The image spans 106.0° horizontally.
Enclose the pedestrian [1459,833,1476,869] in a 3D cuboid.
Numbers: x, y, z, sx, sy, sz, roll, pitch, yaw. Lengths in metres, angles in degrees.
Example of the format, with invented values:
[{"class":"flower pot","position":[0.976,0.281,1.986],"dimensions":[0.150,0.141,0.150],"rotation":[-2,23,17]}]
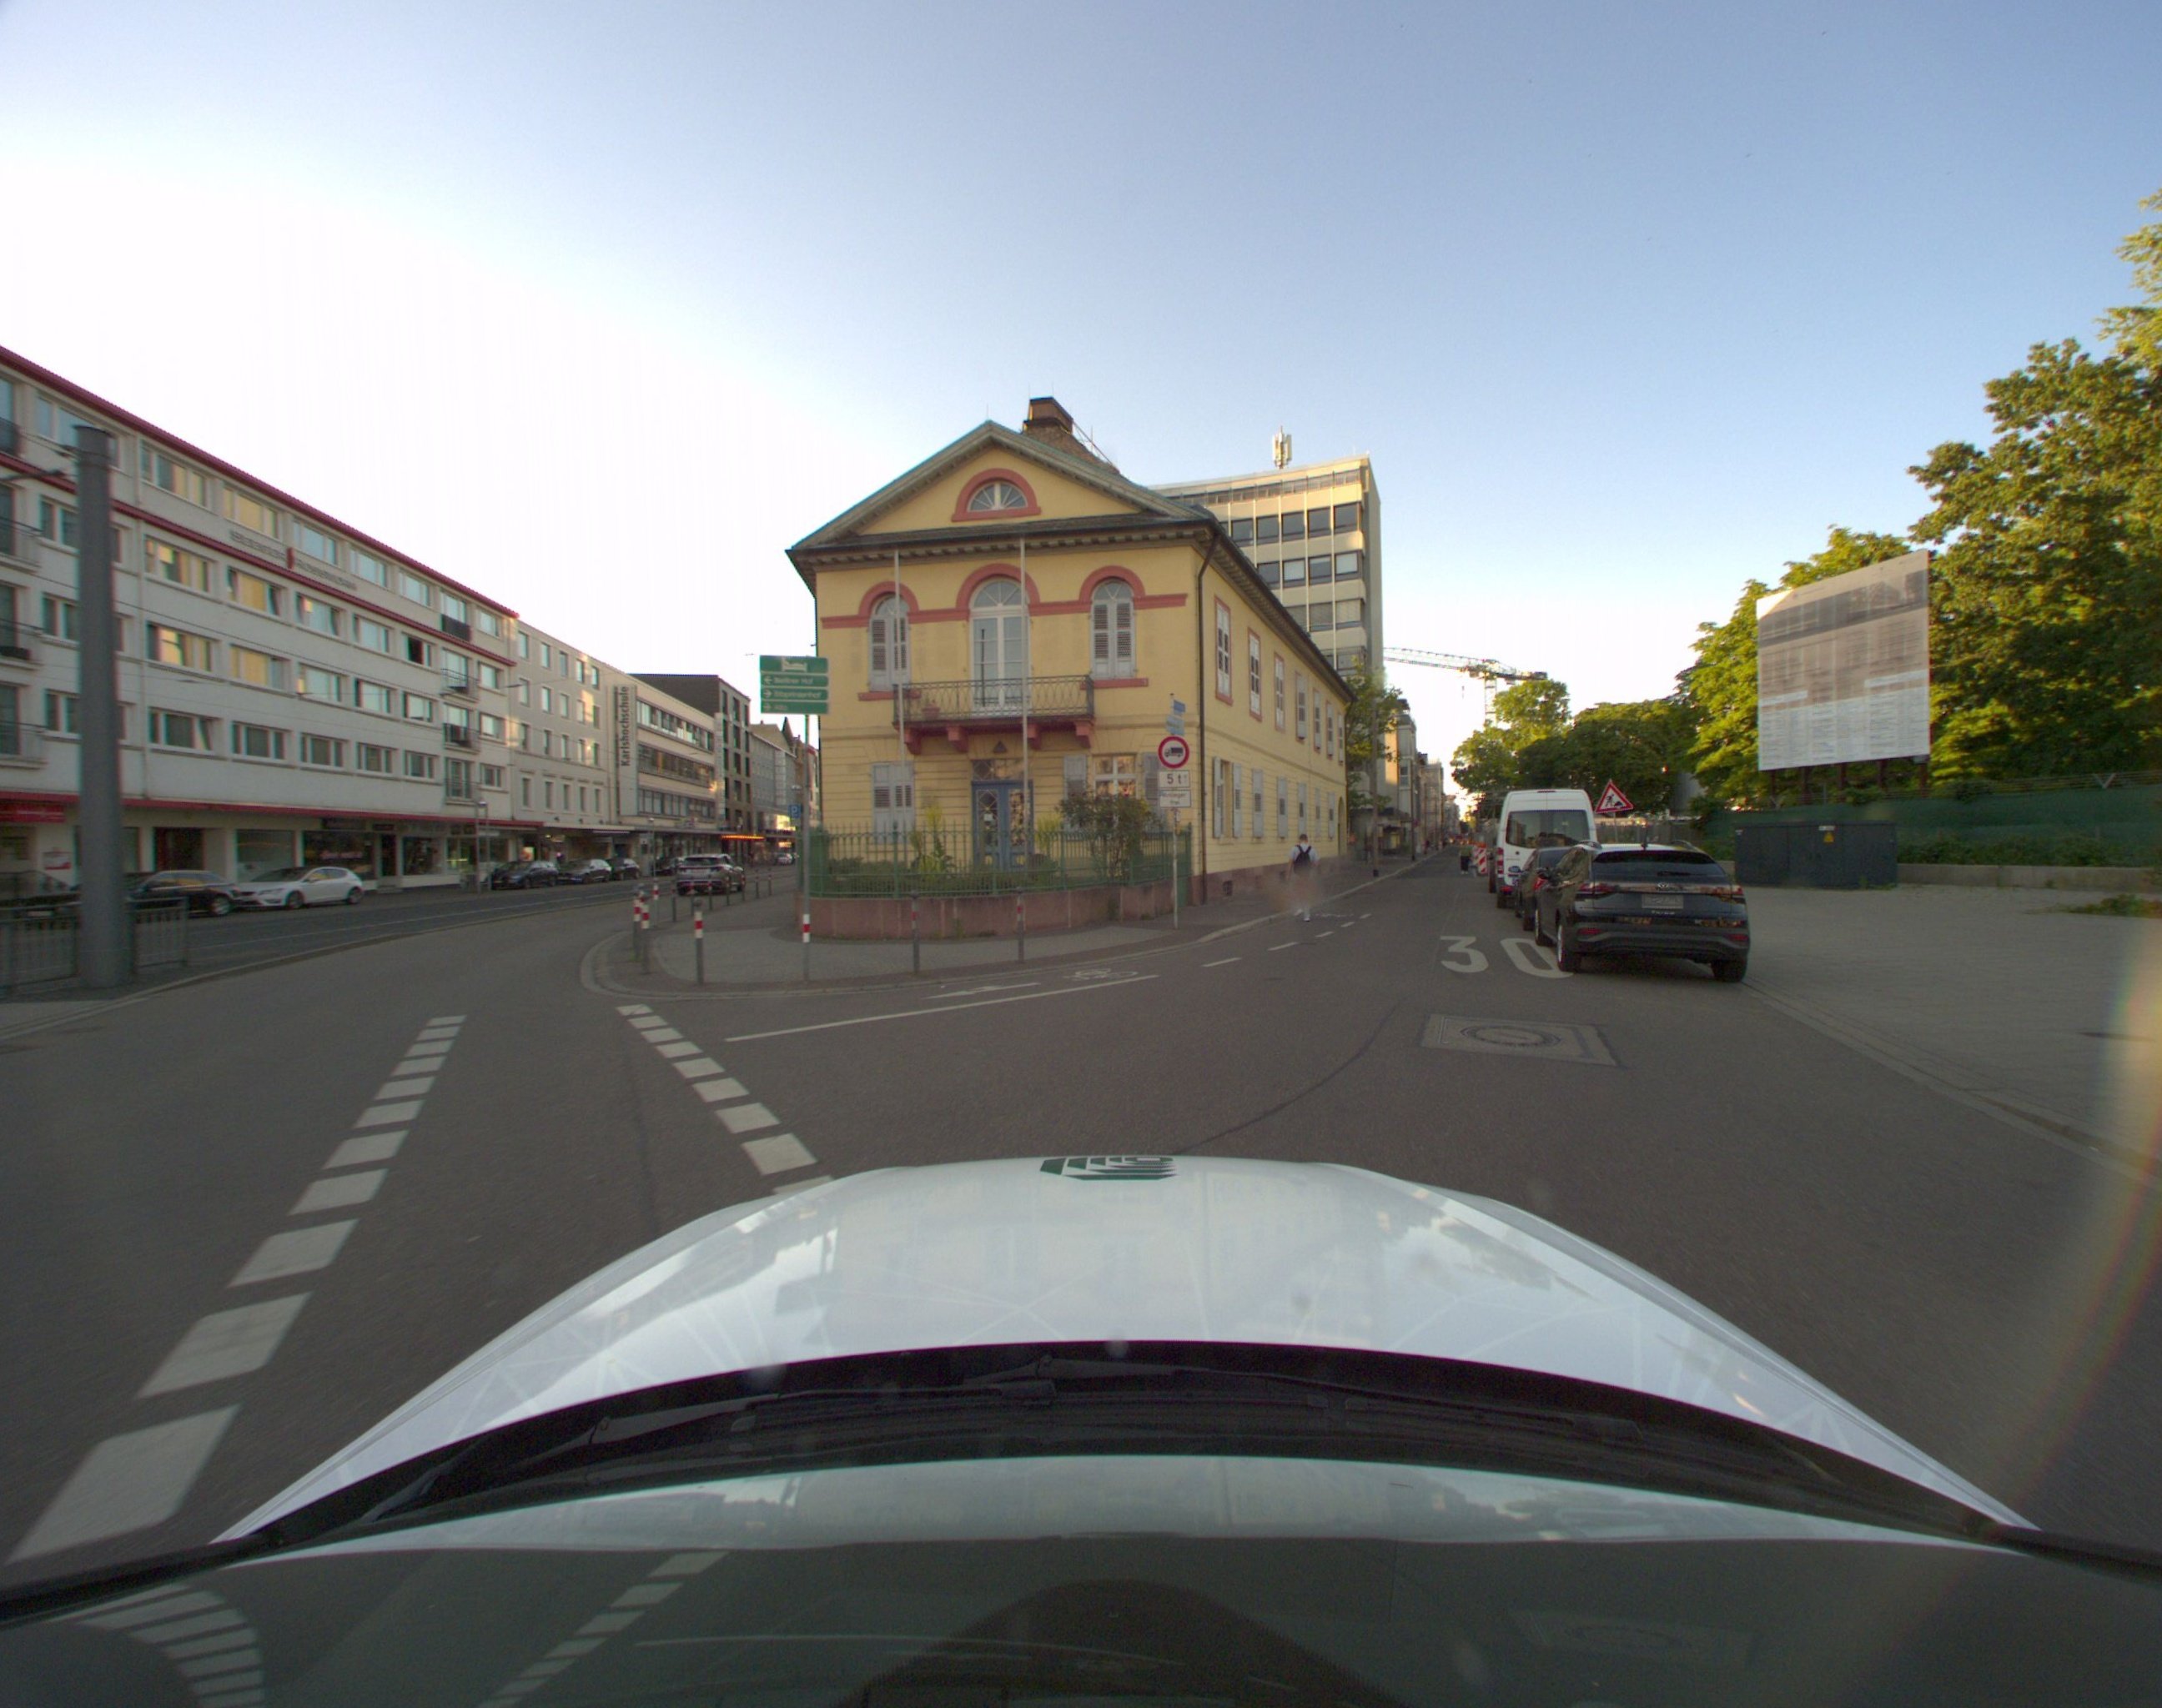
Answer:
[{"class":"pedestrian","position":[17.662,-0.146,37.205],"dimensions":[0.607,1.628,0.823],"rotation":[0,1,29]}]

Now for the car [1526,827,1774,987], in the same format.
[{"class":"car","position":[6.766,0.481,10.190],"dimensions":[1.762,1.543,4.315],"rotation":[-1,1,24]}]

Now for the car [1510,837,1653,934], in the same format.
[{"class":"car","position":[8.724,0.437,14.531],"dimensions":[1.713,1.429,4.500],"rotation":[-1,1,26]}]

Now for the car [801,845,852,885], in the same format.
[{"class":"car","position":[-11.676,0.482,37.524],"dimensions":[1.732,1.708,3.428],"rotation":[-1,0,-10]}]

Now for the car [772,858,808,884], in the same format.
[{"class":"car","position":[-21.603,1.242,60.565],"dimensions":[1.807,1.808,3.988],"rotation":[-1,0,-9]}]

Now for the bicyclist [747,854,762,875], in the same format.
[{"class":"bicyclist","position":[-32.408,1.015,80.873],"dimensions":[1.167,2.013,1.041],"rotation":[-1,0,-11]}]

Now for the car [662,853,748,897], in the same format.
[{"class":"car","position":[-15.079,0.786,32.933],"dimensions":[1.943,1.661,4.522],"rotation":[0,0,-9]}]

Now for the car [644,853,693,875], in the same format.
[{"class":"car","position":[-32.111,0.751,63.512],"dimensions":[1.990,1.665,3.993],"rotation":[-1,0,-5]}]

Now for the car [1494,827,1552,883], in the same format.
[{"class":"car","position":[15.673,-0.002,29.032],"dimensions":[1.697,1.848,4.046],"rotation":[-1,1,27]}]

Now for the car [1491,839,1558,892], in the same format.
[{"class":"car","position":[13.495,0.298,24.935],"dimensions":[1.676,1.459,4.123],"rotation":[-1,1,27]}]

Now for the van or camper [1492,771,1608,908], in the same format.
[{"class":"van or camper","position":[11.211,-0.319,19.815],"dimensions":[2.058,2.774,6.489],"rotation":[-1,0,27]}]

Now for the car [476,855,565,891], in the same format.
[{"class":"car","position":[-28.905,0.936,42.158],"dimensions":[1.990,1.665,3.993],"rotation":[-1,0,-5]}]

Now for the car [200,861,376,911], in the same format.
[{"class":"car","position":[-27.182,1.046,28.168],"dimensions":[1.990,1.465,4.394],"rotation":[-1,0,-5]}]

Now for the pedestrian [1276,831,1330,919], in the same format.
[{"class":"pedestrian","position":[4.518,0.404,16.541],"dimensions":[0.868,1.724,0.835],"rotation":[0,1,30]}]

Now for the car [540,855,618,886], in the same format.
[{"class":"car","position":[-29.717,0.930,48.366],"dimensions":[1.990,1.665,4.631],"rotation":[-1,0,-5]}]

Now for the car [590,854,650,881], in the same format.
[{"class":"car","position":[-31.051,0.868,55.041],"dimensions":[1.990,1.665,3.993],"rotation":[-1,0,-5]}]

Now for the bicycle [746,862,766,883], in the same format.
[{"class":"bicycle","position":[-32.380,1.797,81.110],"dimensions":[1.180,2.013,3.330],"rotation":[-1,0,-10]}]

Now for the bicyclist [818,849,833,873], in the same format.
[{"class":"bicyclist","position":[-17.227,0.467,54.981],"dimensions":[0.829,1.568,0.784],"rotation":[-1,0,-10]}]

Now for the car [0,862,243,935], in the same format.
[{"class":"car","position":[-26.251,1.115,22.217],"dimensions":[1.990,1.665,4.832],"rotation":[-1,0,-5]}]
